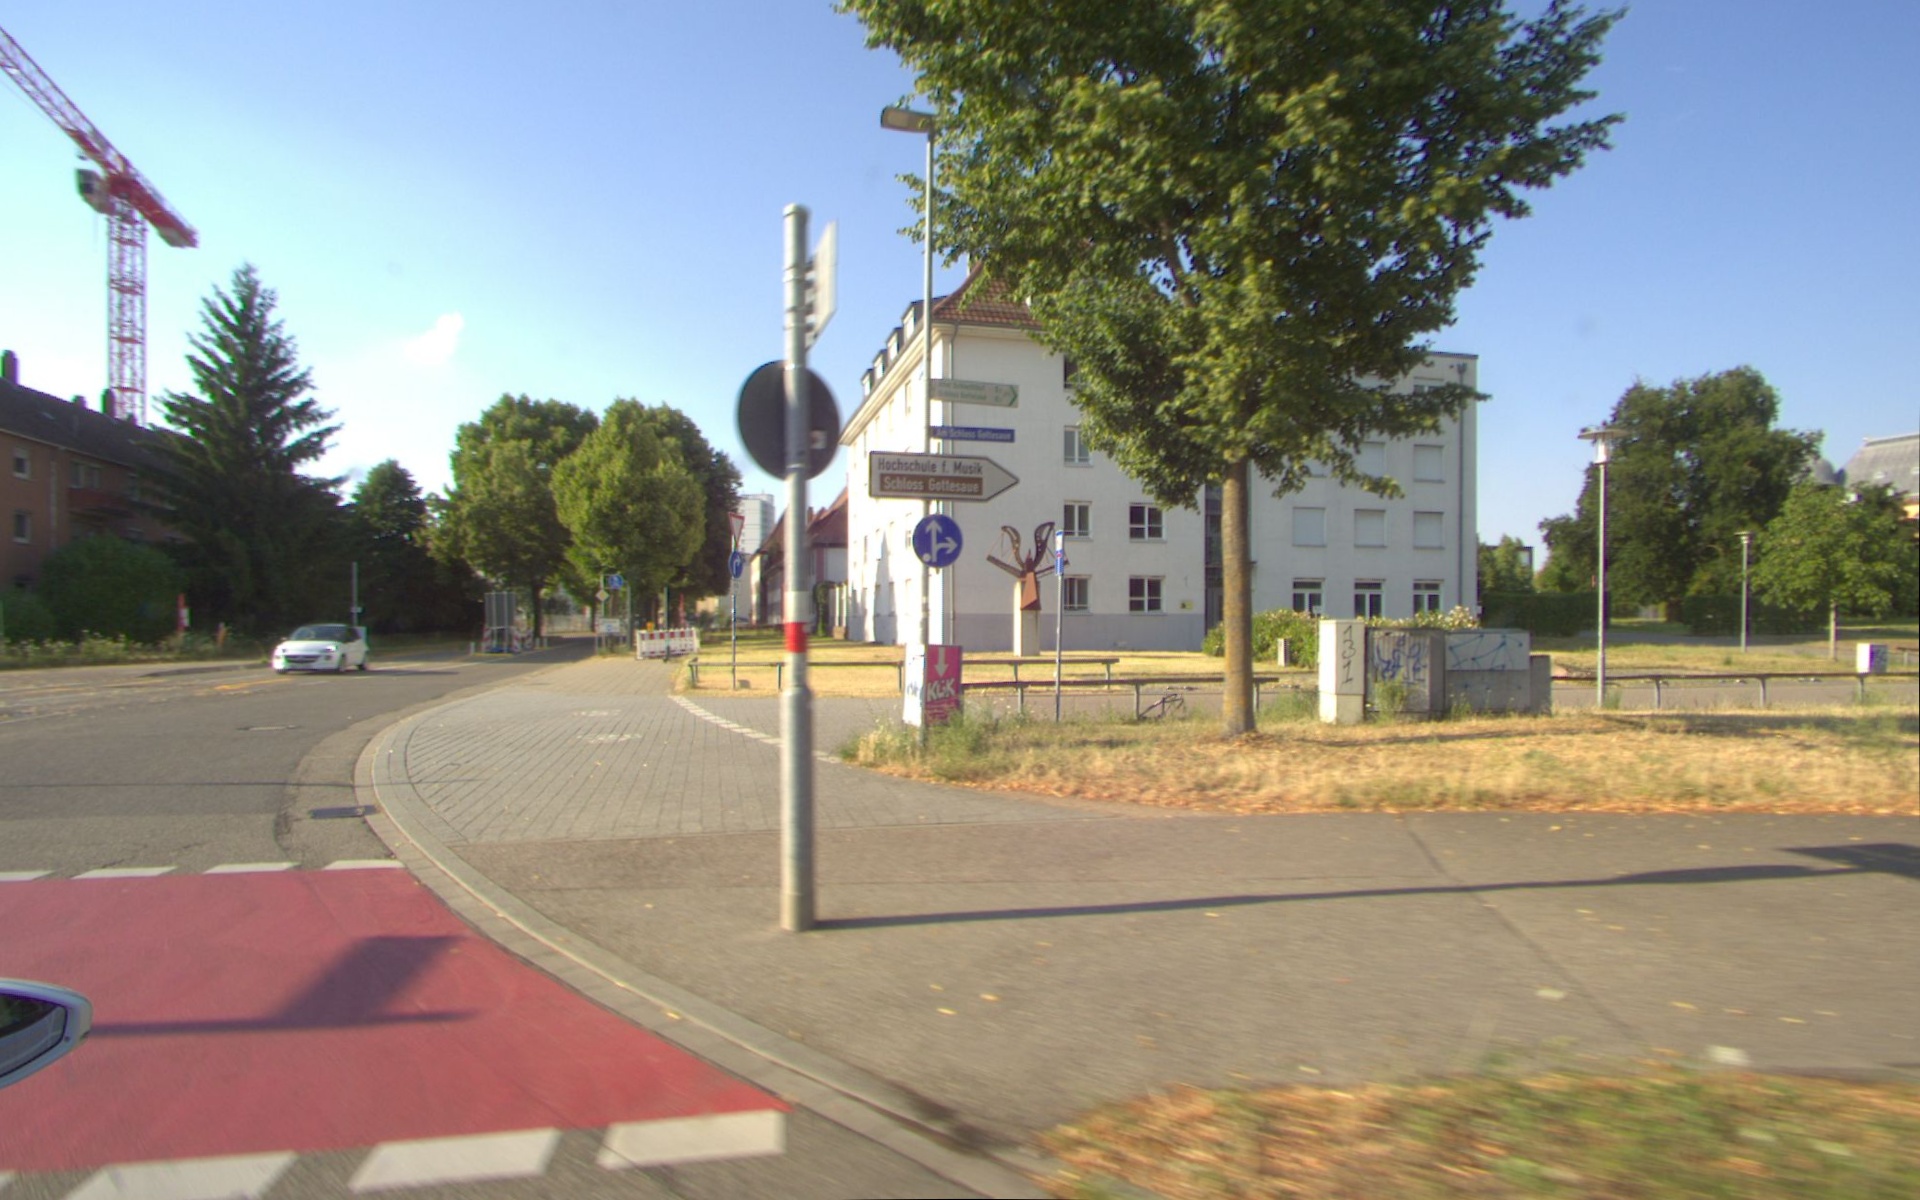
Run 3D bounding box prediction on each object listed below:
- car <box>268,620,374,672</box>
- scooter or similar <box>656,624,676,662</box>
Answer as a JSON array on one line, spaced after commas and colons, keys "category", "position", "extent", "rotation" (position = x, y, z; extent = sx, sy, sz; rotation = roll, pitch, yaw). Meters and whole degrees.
[{"category": "car", "position": [-19.293, 1.369, 30.380], "extent": [1.734, 1.439, 3.619], "rotation": [2, -2, -17]}, {"category": "scooter or similar", "position": [-10.518, 1.522, 35.896], "extent": [0.550, 1.309, 1.461], "rotation": [-4, 0, -15]}]
